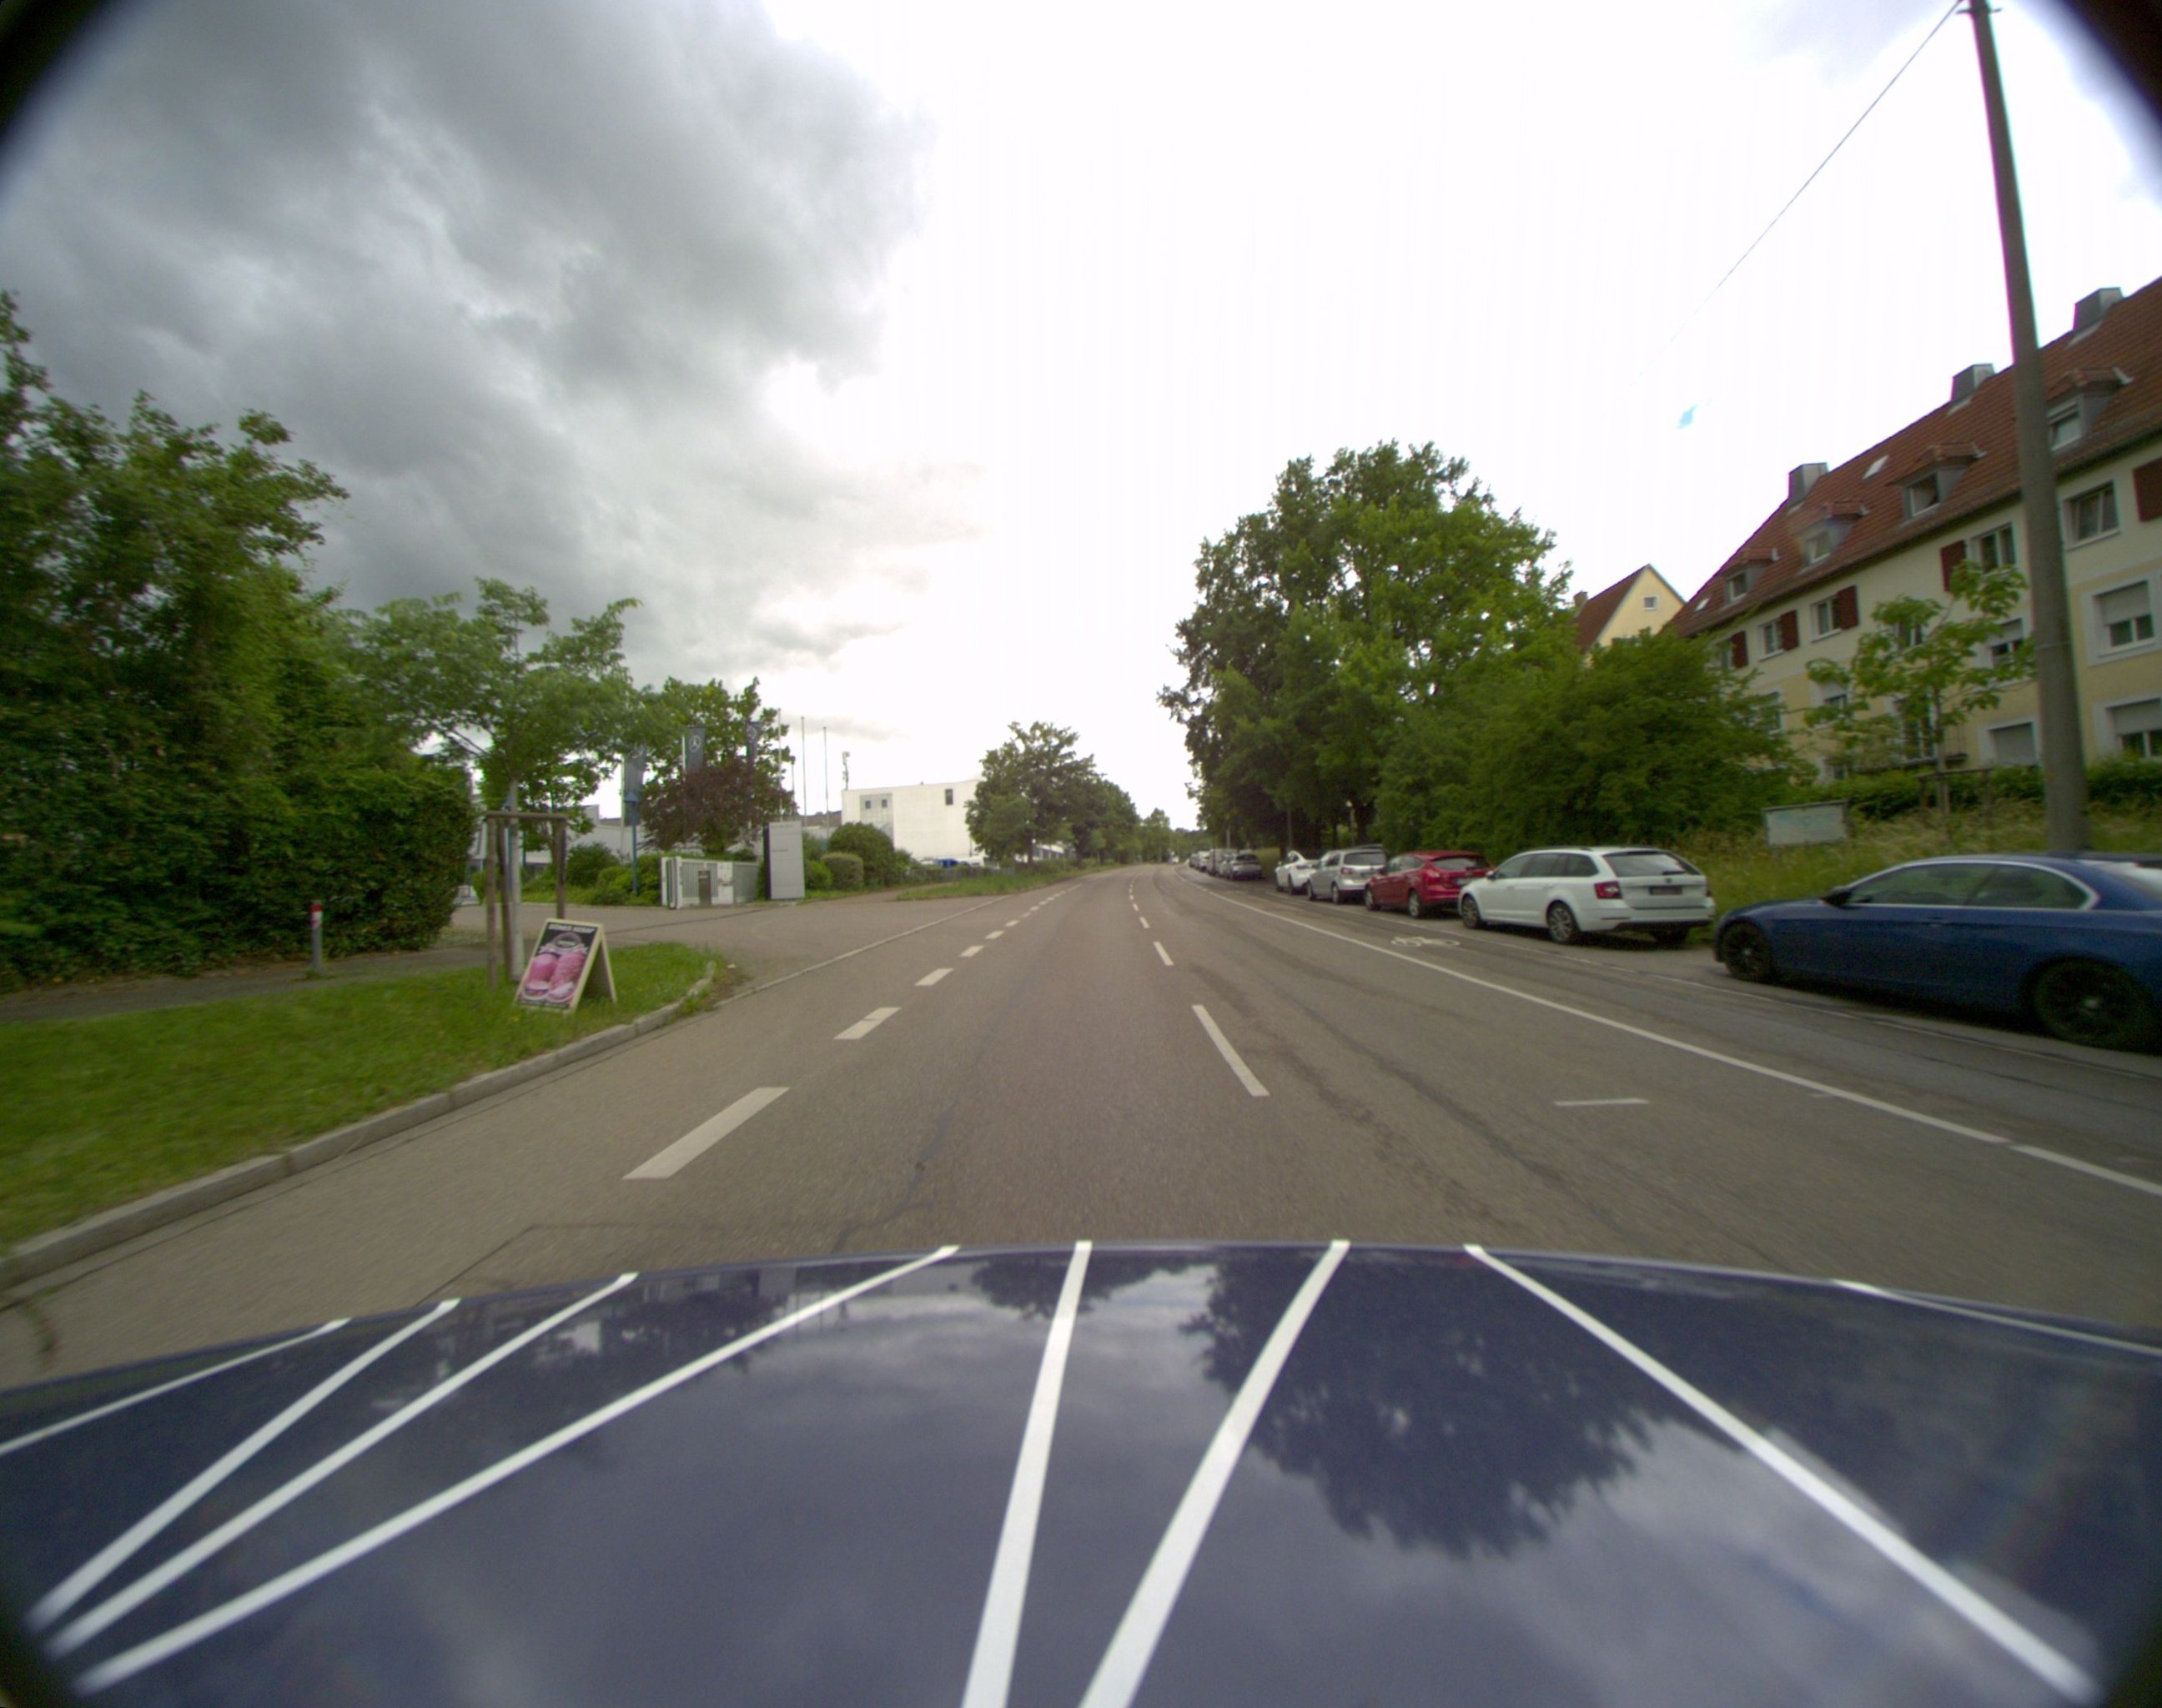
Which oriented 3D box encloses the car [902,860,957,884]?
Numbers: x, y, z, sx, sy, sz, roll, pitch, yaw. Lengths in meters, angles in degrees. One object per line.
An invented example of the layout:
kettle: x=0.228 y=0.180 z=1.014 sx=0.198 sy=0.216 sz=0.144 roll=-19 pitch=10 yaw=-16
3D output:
car: x=-12.271 y=1.455 z=61.666 sx=4.003 sy=1.620 sz=1.997 roll=-3 pitch=0 yaw=-21

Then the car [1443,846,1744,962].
car: x=7.968 y=0.664 z=12.507 sx=1.719 sy=1.451 sz=4.756 roll=-3 pitch=0 yaw=0

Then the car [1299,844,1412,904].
car: x=8.144 y=0.556 z=22.959 sx=1.873 sy=1.564 sz=4.120 roll=-3 pitch=0 yaw=0

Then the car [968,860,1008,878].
car: x=-12.094 y=1.943 z=98.988 sx=4.583 sy=2.022 sz=2.067 roll=-3 pitch=0 yaw=-33

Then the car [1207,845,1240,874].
car: x=10.383 y=0.383 z=55.618 sx=1.870 sy=1.952 sz=5.129 roll=-2 pitch=0 yaw=5

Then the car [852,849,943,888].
car: x=-13.126 y=1.005 z=54.318 sx=6.034 sy=2.353 sz=2.359 roll=-3 pitch=0 yaw=-17

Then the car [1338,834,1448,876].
car: x=14.847 y=0.035 z=36.390 sx=4.441 sy=1.446 sz=1.888 roll=-7 pitch=0 yaw=7

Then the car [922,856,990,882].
car: x=-11.433 y=1.349 z=69.281 sx=5.830 sy=1.945 sz=2.069 roll=-3 pitch=0 yaw=-15

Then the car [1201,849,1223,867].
car: x=12.039 y=0.338 z=70.033 sx=1.676 sy=1.555 sz=4.283 roll=-2 pitch=0 yaw=5

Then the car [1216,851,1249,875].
car: x=9.925 y=0.571 z=50.006 sx=1.585 sy=1.473 sz=3.721 roll=-2 pitch=0 yaw=3

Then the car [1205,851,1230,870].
car: x=11.529 y=0.511 z=64.435 sx=1.666 sy=1.470 sz=4.091 roll=-2 pitch=0 yaw=4

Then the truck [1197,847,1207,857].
truck: x=41.214 y=-0.636 z=259.160 sx=2.829 sy=3.459 sz=7.831 roll=-2 pitch=-1 yaw=13

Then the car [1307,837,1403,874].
car: x=14.894 y=0.089 z=41.499 sx=4.443 sy=1.442 sz=1.869 roll=-7 pitch=0 yaw=1

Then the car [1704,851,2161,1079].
car: x=7.712 y=0.703 z=6.169 sx=1.719 sy=1.381 sz=4.338 roll=-3 pitch=0 yaw=0

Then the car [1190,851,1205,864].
car: x=15.095 y=0.449 z=98.818 sx=1.771 sy=1.582 sz=4.137 roll=-2 pitch=-1 yaw=7

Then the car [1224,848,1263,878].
car: x=9.626 y=0.520 z=45.255 sx=1.770 sy=1.624 sz=4.160 roll=-2 pitch=0 yaw=6

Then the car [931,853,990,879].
car: x=-11.628 y=1.169 z=73.211 sx=5.265 sy=2.175 sz=2.069 roll=-3 pitch=0 yaw=-18

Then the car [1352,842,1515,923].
car: x=7.988 y=0.586 z=17.709 sx=1.719 sy=1.564 sz=4.370 roll=-3 pitch=0 yaw=0

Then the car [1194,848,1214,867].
car: x=13.133 y=0.371 z=81.388 sx=1.771 sy=1.919 sz=5.158 roll=-3 pitch=-1 yaw=6

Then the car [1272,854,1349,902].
car: x=8.485 y=0.841 z=28.543 sx=1.771 sy=1.564 sz=4.761 roll=-2 pitch=0 yaw=5

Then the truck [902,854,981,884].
truck: x=-12.045 y=1.255 z=65.701 sx=6.259 sy=2.199 sz=2.243 roll=-3 pitch=0 yaw=-21

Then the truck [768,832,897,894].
truck: x=-15.139 y=0.509 z=46.597 sx=7.192 sy=3.456 sz=2.615 roll=-2 pitch=0 yaw=-18
